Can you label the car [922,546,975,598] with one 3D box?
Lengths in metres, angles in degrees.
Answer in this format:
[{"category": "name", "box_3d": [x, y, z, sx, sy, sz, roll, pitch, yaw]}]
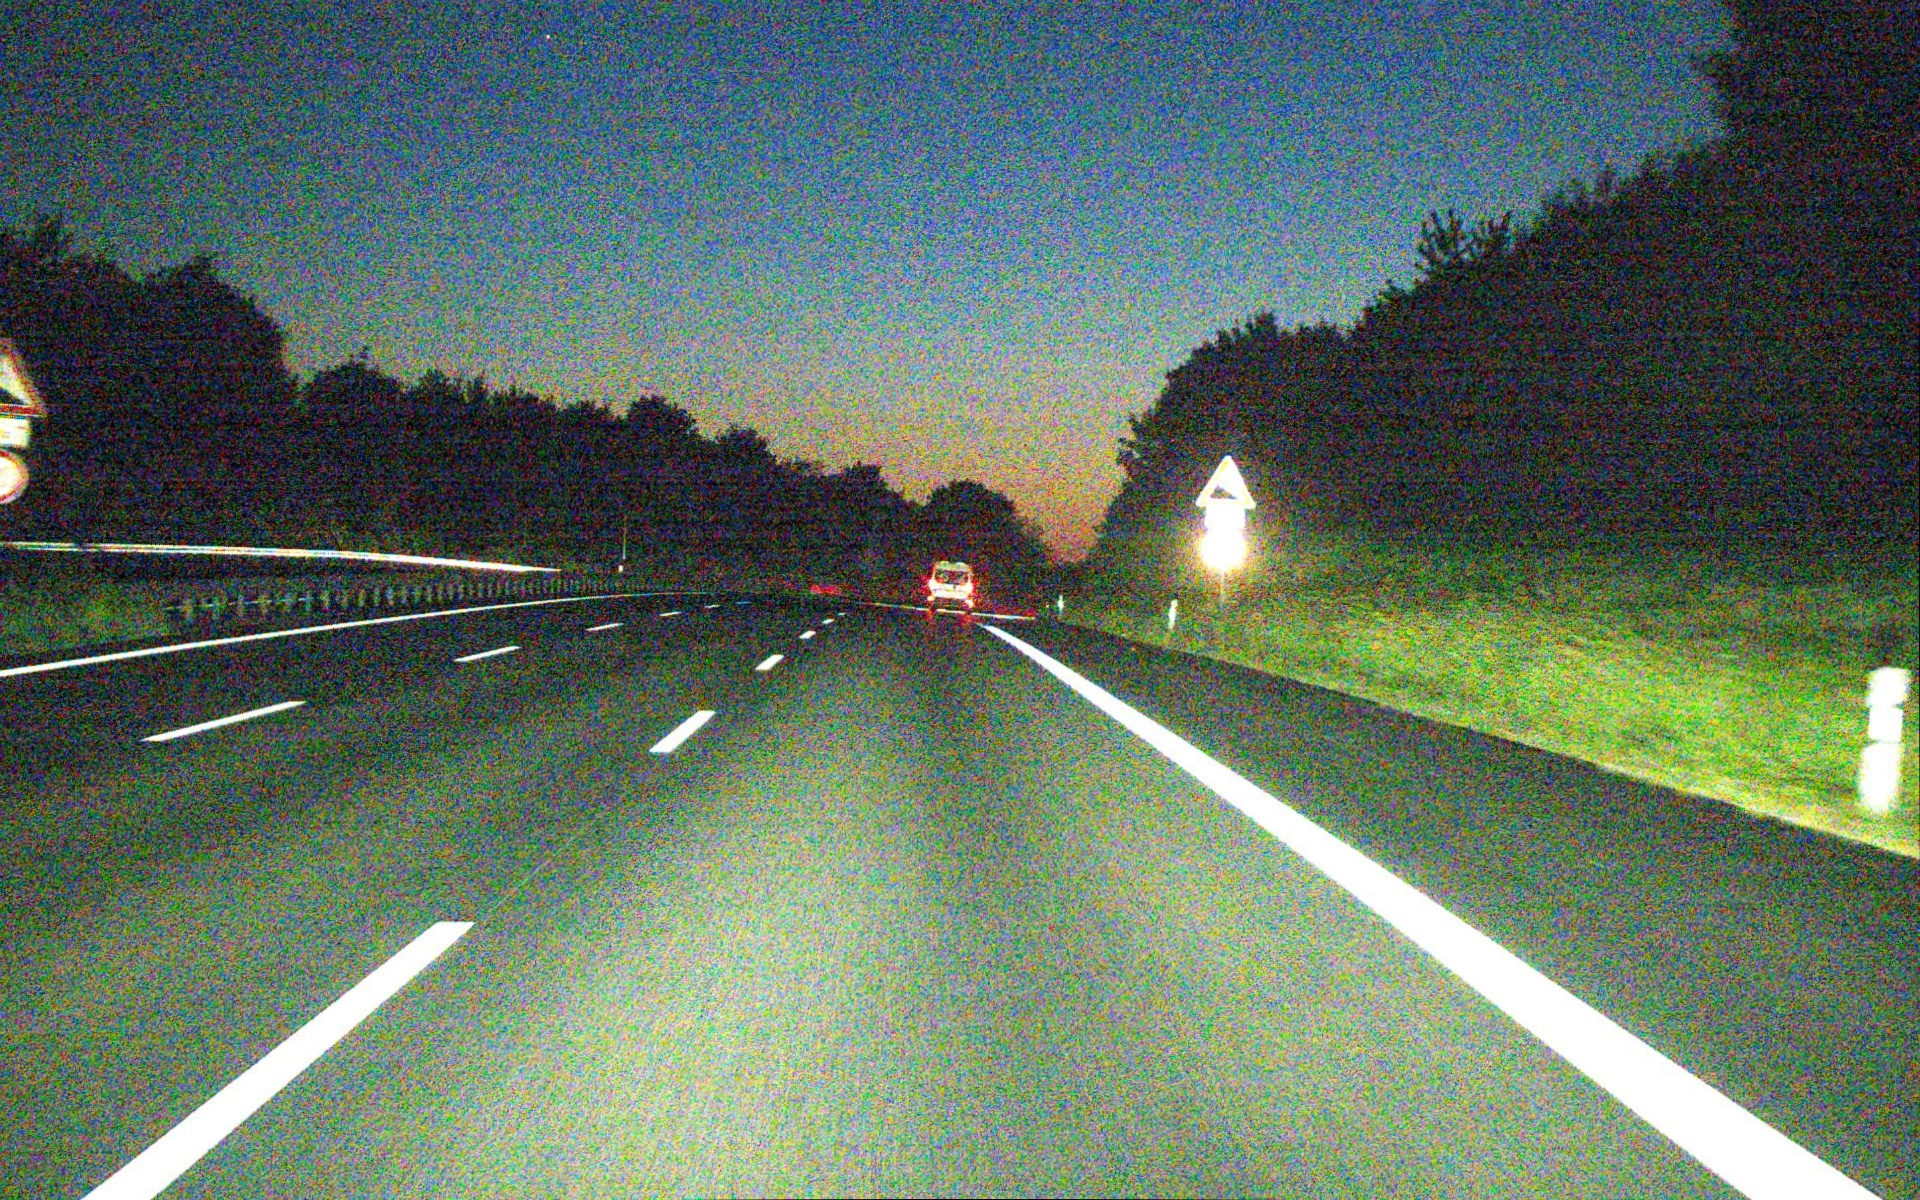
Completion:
[{"category": "car", "box_3d": [-0.568, -1.435, 175.211, 2.528, 2.544, 6.051, 2, 1, 1]}]
